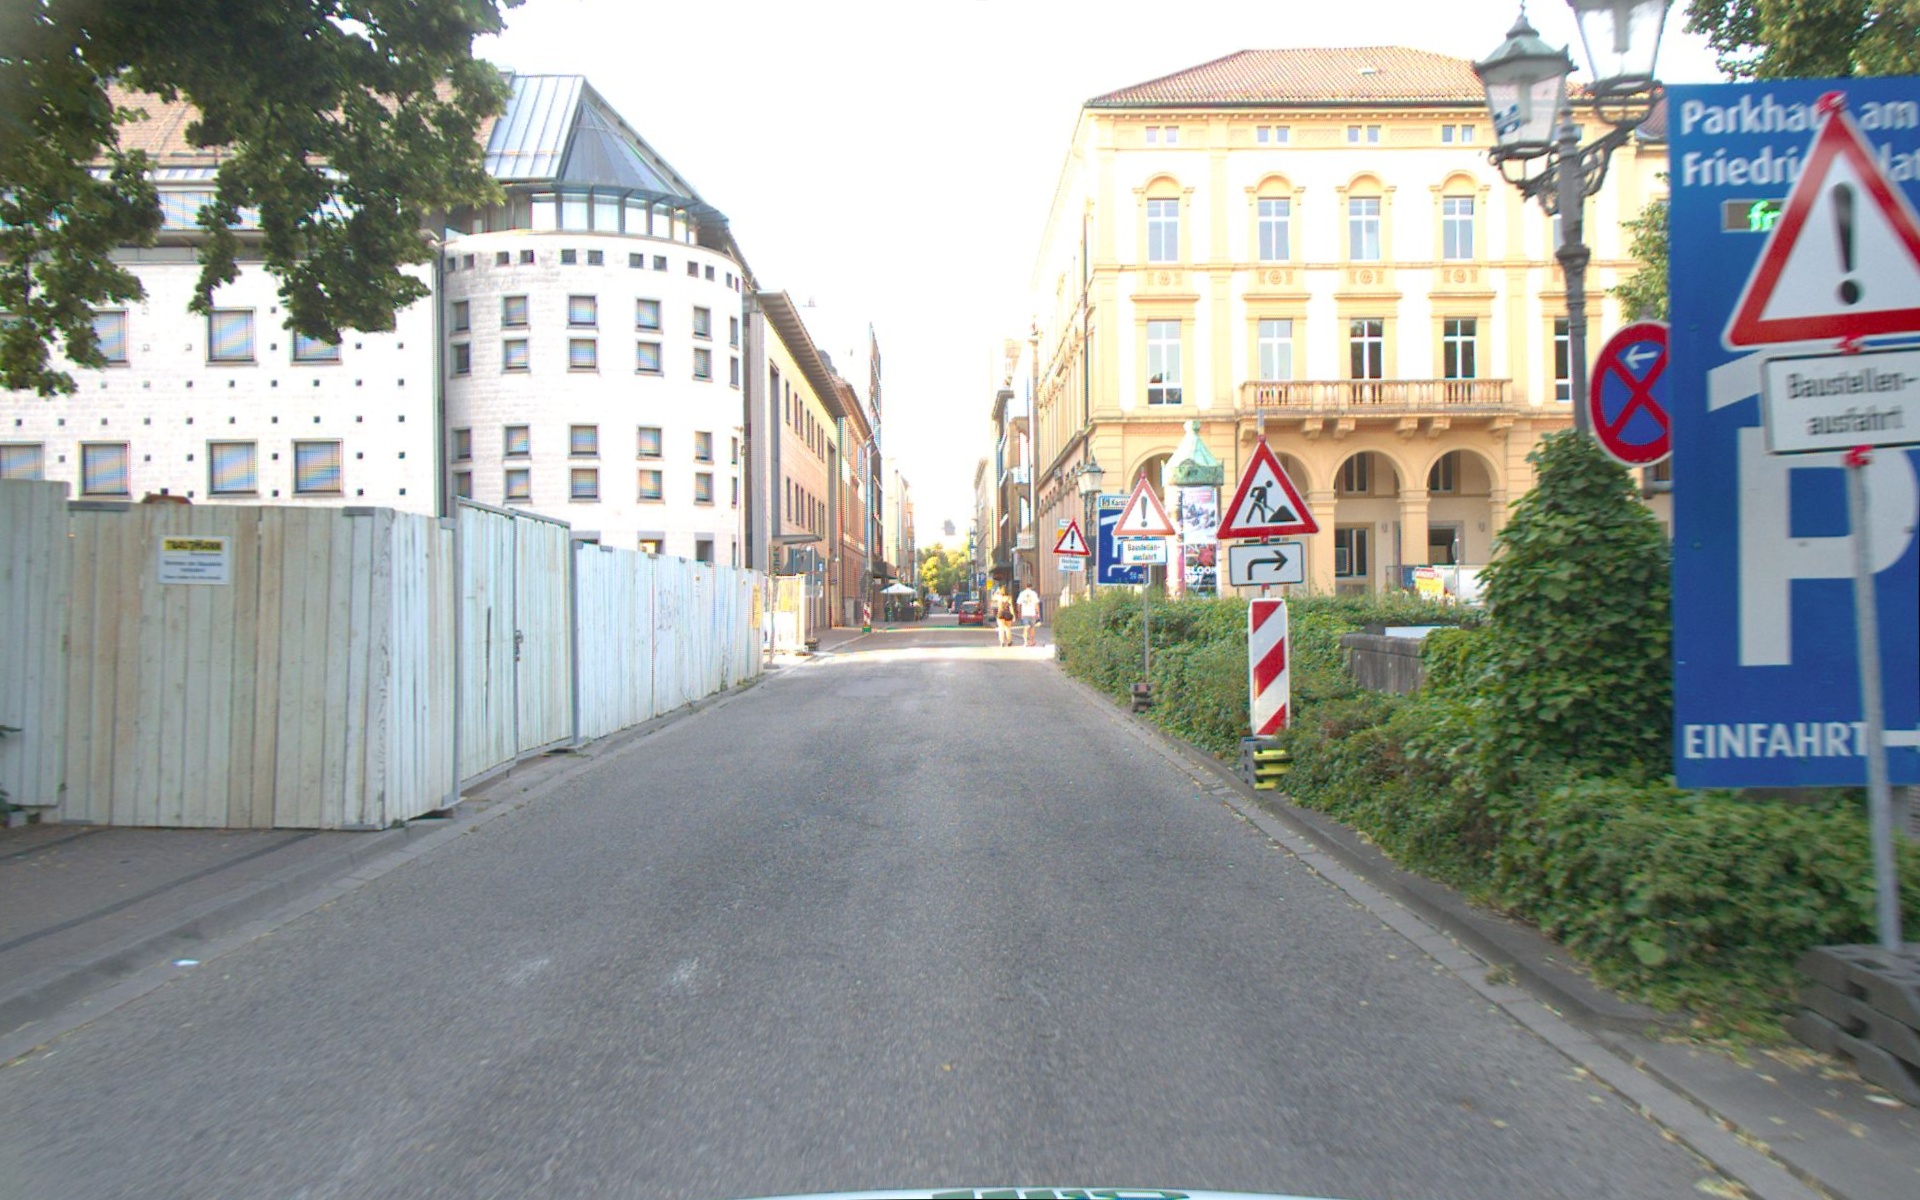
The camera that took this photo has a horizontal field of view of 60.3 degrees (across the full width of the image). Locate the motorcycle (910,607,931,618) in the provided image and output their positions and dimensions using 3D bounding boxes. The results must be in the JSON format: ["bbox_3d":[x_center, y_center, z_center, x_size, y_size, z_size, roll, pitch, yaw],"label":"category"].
[{"bbox_3d":[-3.507,1.094,146.594,1.766,0.891,0.560,-1,-1,-5],"label":"motorcycle"}]

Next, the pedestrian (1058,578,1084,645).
[{"bbox_3d":[3.067,0.320,45.685,0.623,1.835,0.771,-1,-1,-2],"label":"pedestrian"}]

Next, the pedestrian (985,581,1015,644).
[{"bbox_3d":[1.142,0.359,47.098,0.760,1.777,0.875,-1,-1,-2],"label":"pedestrian"}]

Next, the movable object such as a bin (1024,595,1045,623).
[{"bbox_3d":[3.866,0.487,85.833,0.970,1.416,1.240,-2,0,-1],"label":"movable object such as a bin"}]

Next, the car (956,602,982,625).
[{"bbox_3d":[0.583,0.879,106.755,1.616,1.452,3.535,2,-1,0],"label":"car"}]

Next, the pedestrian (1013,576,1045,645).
[{"bbox_3d":[1.961,0.301,47.149,0.795,1.908,0.875,-1,-1,-2],"label":"pedestrian"}]

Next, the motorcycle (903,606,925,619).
[{"bbox_3d":[-3.845,1.054,138.398,1.766,1.059,0.493,-1,-1,-5],"label":"motorcycle"}]

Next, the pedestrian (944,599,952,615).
[{"bbox_3d":[-1.253,0.807,178.473,0.788,1.702,0.888,-1,-1,1],"label":"pedestrian"}]

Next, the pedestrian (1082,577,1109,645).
[{"bbox_3d":[3.729,0.311,45.709,0.623,1.835,0.771,-1,-1,-2],"label":"pedestrian"}]
